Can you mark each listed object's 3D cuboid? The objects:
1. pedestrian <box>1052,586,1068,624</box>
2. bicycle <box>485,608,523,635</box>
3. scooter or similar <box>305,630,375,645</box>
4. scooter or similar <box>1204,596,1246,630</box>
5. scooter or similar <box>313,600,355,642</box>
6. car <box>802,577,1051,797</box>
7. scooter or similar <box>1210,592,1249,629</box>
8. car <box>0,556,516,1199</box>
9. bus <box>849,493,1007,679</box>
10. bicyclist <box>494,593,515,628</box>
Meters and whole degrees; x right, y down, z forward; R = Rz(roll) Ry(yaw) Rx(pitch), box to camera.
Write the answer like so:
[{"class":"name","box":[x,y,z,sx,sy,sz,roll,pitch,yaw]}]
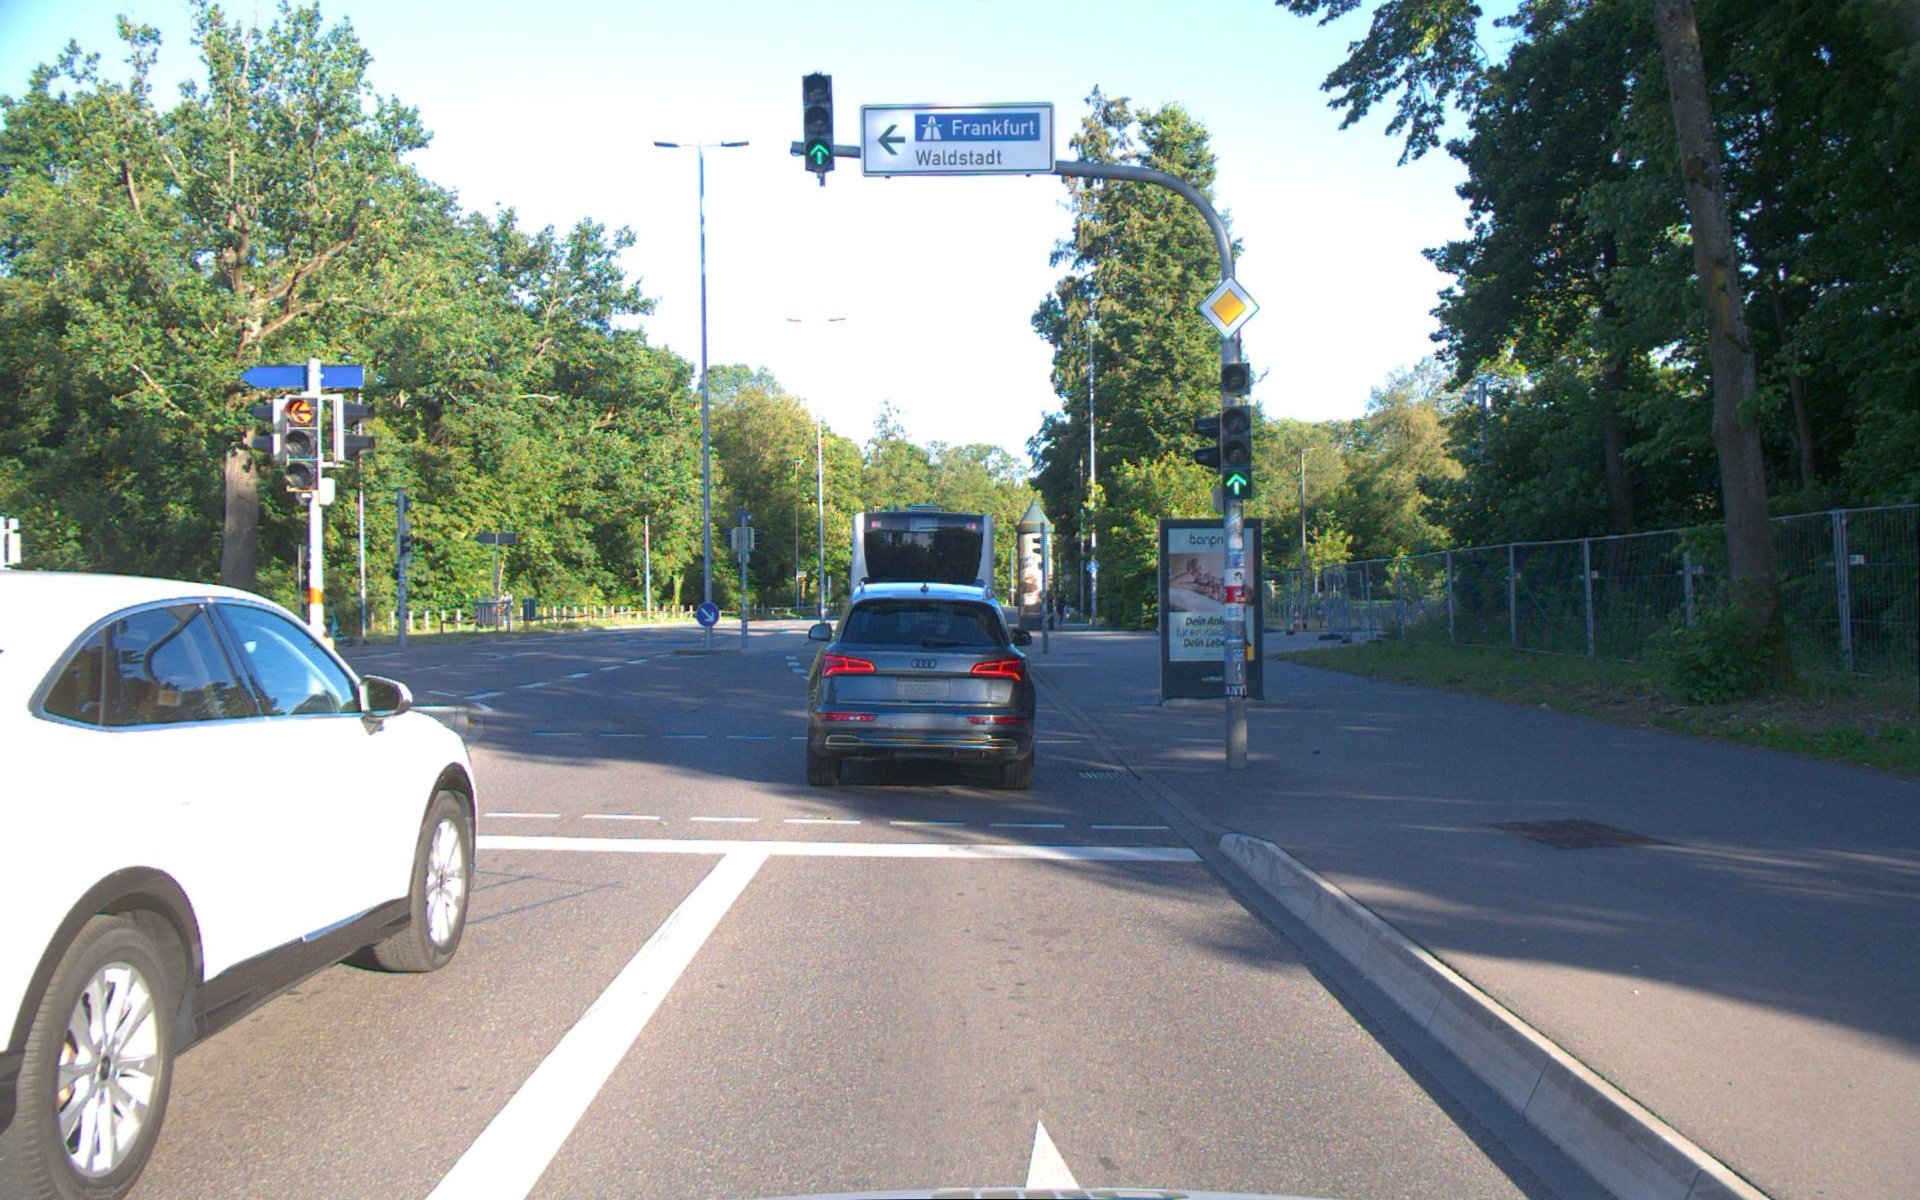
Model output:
[{"class":"pedestrian","box":[4.595,0.220,75.792,0.612,1.718,0.883,1,0,9]},{"class":"bicycle","box":[-20.751,0.972,75.310,0.665,1.174,1.986,1,2,17]},{"class":"scooter or similar","box":[-17.052,1.034,45.516,1.377,0.345,1.261,0,1,7]},{"class":"scooter or similar","box":[9.476,0.458,59.088,1.411,1.187,0.393,-2,-2,29]},{"class":"scooter or similar","box":[-17.777,0.604,46.993,1.044,1.166,0.394,0,1,7]},{"class":"car","box":[-0.291,0.651,14.800,1.854,1.633,4.543,1,0,-1]},{"class":"scooter or similar","box":[9.035,0.359,55.554,1.239,1.167,0.394,-2,-2,7]},{"class":"car","box":[-2.820,0.671,5.104,1.796,1.539,4.299,0,0,-1]},{"class":"bus","box":[-0.643,-0.229,34.011,2.635,3.096,12.038,1,0,-1]},{"class":"bicyclist","box":[-20.738,0.468,75.337,0.550,1.578,0.801,1,2,17]}]
